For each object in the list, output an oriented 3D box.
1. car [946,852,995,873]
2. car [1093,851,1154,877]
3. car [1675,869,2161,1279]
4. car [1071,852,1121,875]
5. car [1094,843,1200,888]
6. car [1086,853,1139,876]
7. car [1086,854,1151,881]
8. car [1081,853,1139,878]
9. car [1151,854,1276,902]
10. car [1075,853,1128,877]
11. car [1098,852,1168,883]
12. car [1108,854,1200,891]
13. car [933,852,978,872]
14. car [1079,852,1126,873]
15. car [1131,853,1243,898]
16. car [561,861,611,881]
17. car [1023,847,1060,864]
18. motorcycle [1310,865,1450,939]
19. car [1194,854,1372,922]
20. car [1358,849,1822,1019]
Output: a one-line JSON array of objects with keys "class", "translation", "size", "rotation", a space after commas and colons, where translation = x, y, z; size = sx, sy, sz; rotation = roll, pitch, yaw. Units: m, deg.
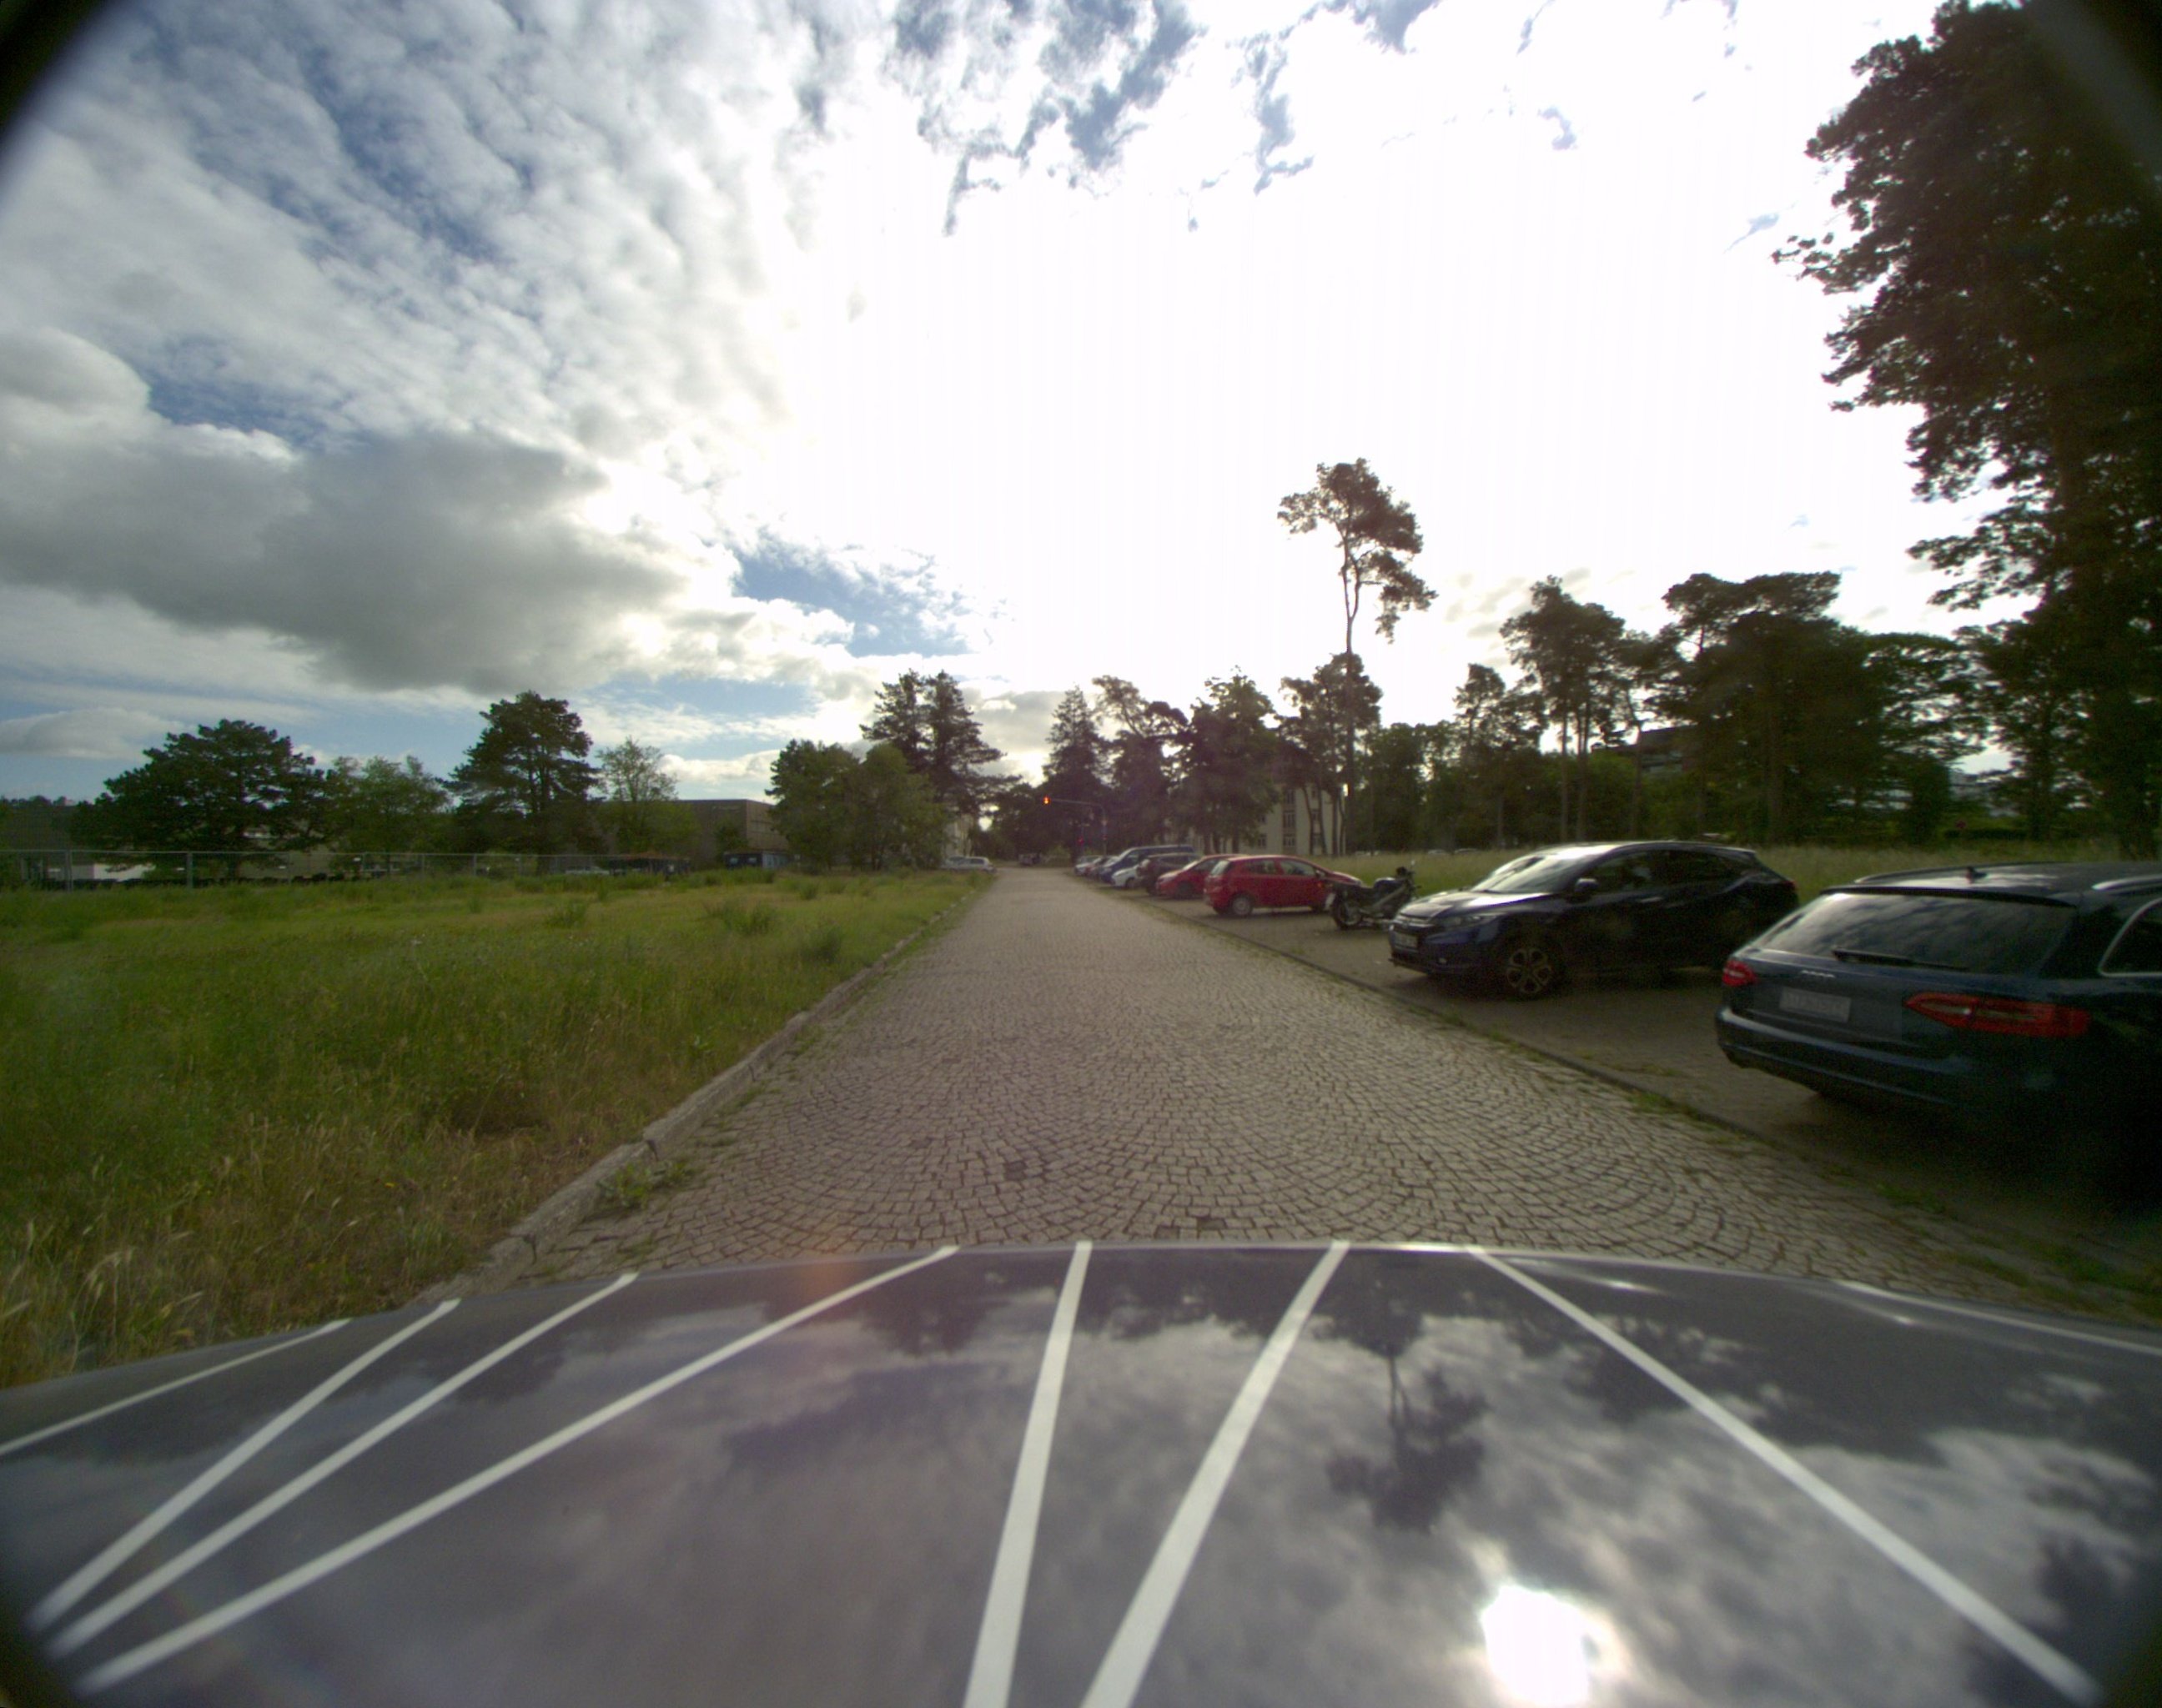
[{"class": "car", "translation": [-8.713, 0.649, 59.913], "size": [3.731, 1.430, 1.625], "rotation": [-3, 2, -8]}, {"class": "car", "translation": [2.753, 0.658, 49.436], "size": [3.574, 1.426, 1.605], "rotation": [-4, 1, -12]}, {"class": "car", "translation": [5.868, 0.851, 3.831], "size": [4.443, 1.471, 1.682], "rotation": [-2, 0, -1]}, {"class": "car", "translation": [1.131, 0.718, 59.100], "size": [3.572, 1.450, 1.625], "rotation": [-4, 1, -7]}, {"class": "car", "translation": [3.261, 0.533, 38.056], "size": [4.835, 1.855, 2.160], "rotation": [-4, 1, -6]}, {"class": "car", "translation": [2.223, 0.757, 54.231], "size": [3.651, 1.341, 1.620], "rotation": [-4, 1, -1]}, {"class": "car", "translation": [2.255, 0.782, 46.263], "size": [3.601, 1.413, 1.616], "rotation": [-3, 1, -12]}, {"class": "car", "translation": [1.986, 0.787, 51.941], "size": [3.574, 1.408, 1.636], "rotation": [-4, 1, -12]}, {"class": "car", "translation": [4.561, 0.805, 26.447], "size": [3.952, 1.511, 1.707], "rotation": [-1, 0, -4]}, {"class": "car", "translation": [1.515, 0.777, 56.153], "size": [3.574, 1.479, 1.601], "rotation": [-4, 2, -13]}, {"class": "car", "translation": [2.973, 0.753, 43.748], "size": [3.601, 1.446, 1.686], "rotation": [-4, 1, -12]}, {"class": "car", "translation": [3.370, 0.828, 35.470], "size": [3.931, 1.385, 1.741], "rotation": [-4, 1, -6]}, {"class": "car", "translation": [-10.772, 0.680, 65.184], "size": [3.732, 1.429, 1.624], "rotation": [-3, 1, -12]}, {"class": "car", "translation": [1.721, 0.647, 61.745], "size": [3.456, 1.424, 1.626], "rotation": [-4, 1, -14]}, {"class": "car", "translation": [4.007, 0.805, 29.108], "size": [3.918, 1.594, 1.820], "rotation": [-1, 0, -7]}, {"class": "car", "translation": [-48.190, 1.616, 73.966], "size": [1.995, 1.892, 3.779], "rotation": [-2, -2, 45]}, {"class": "car", "translation": [-6.692, 0.217, 128.372], "size": [5.799, 2.548, 2.767], "rotation": [-4, 1, -10]}, {"class": "motorcycle", "translation": [5.679, 0.896, 14.498], "size": [2.362, 1.280, 0.743], "rotation": [-2, 0, -4]}, {"class": "car", "translation": [4.949, 0.807, 18.855], "size": [3.895, 1.470, 1.671], "rotation": [-2, 0, -5]}, {"class": "car", "translation": [5.528, 0.780, 8.558], "size": [4.150, 1.564, 1.789], "rotation": [-1, 1, -6]}]
